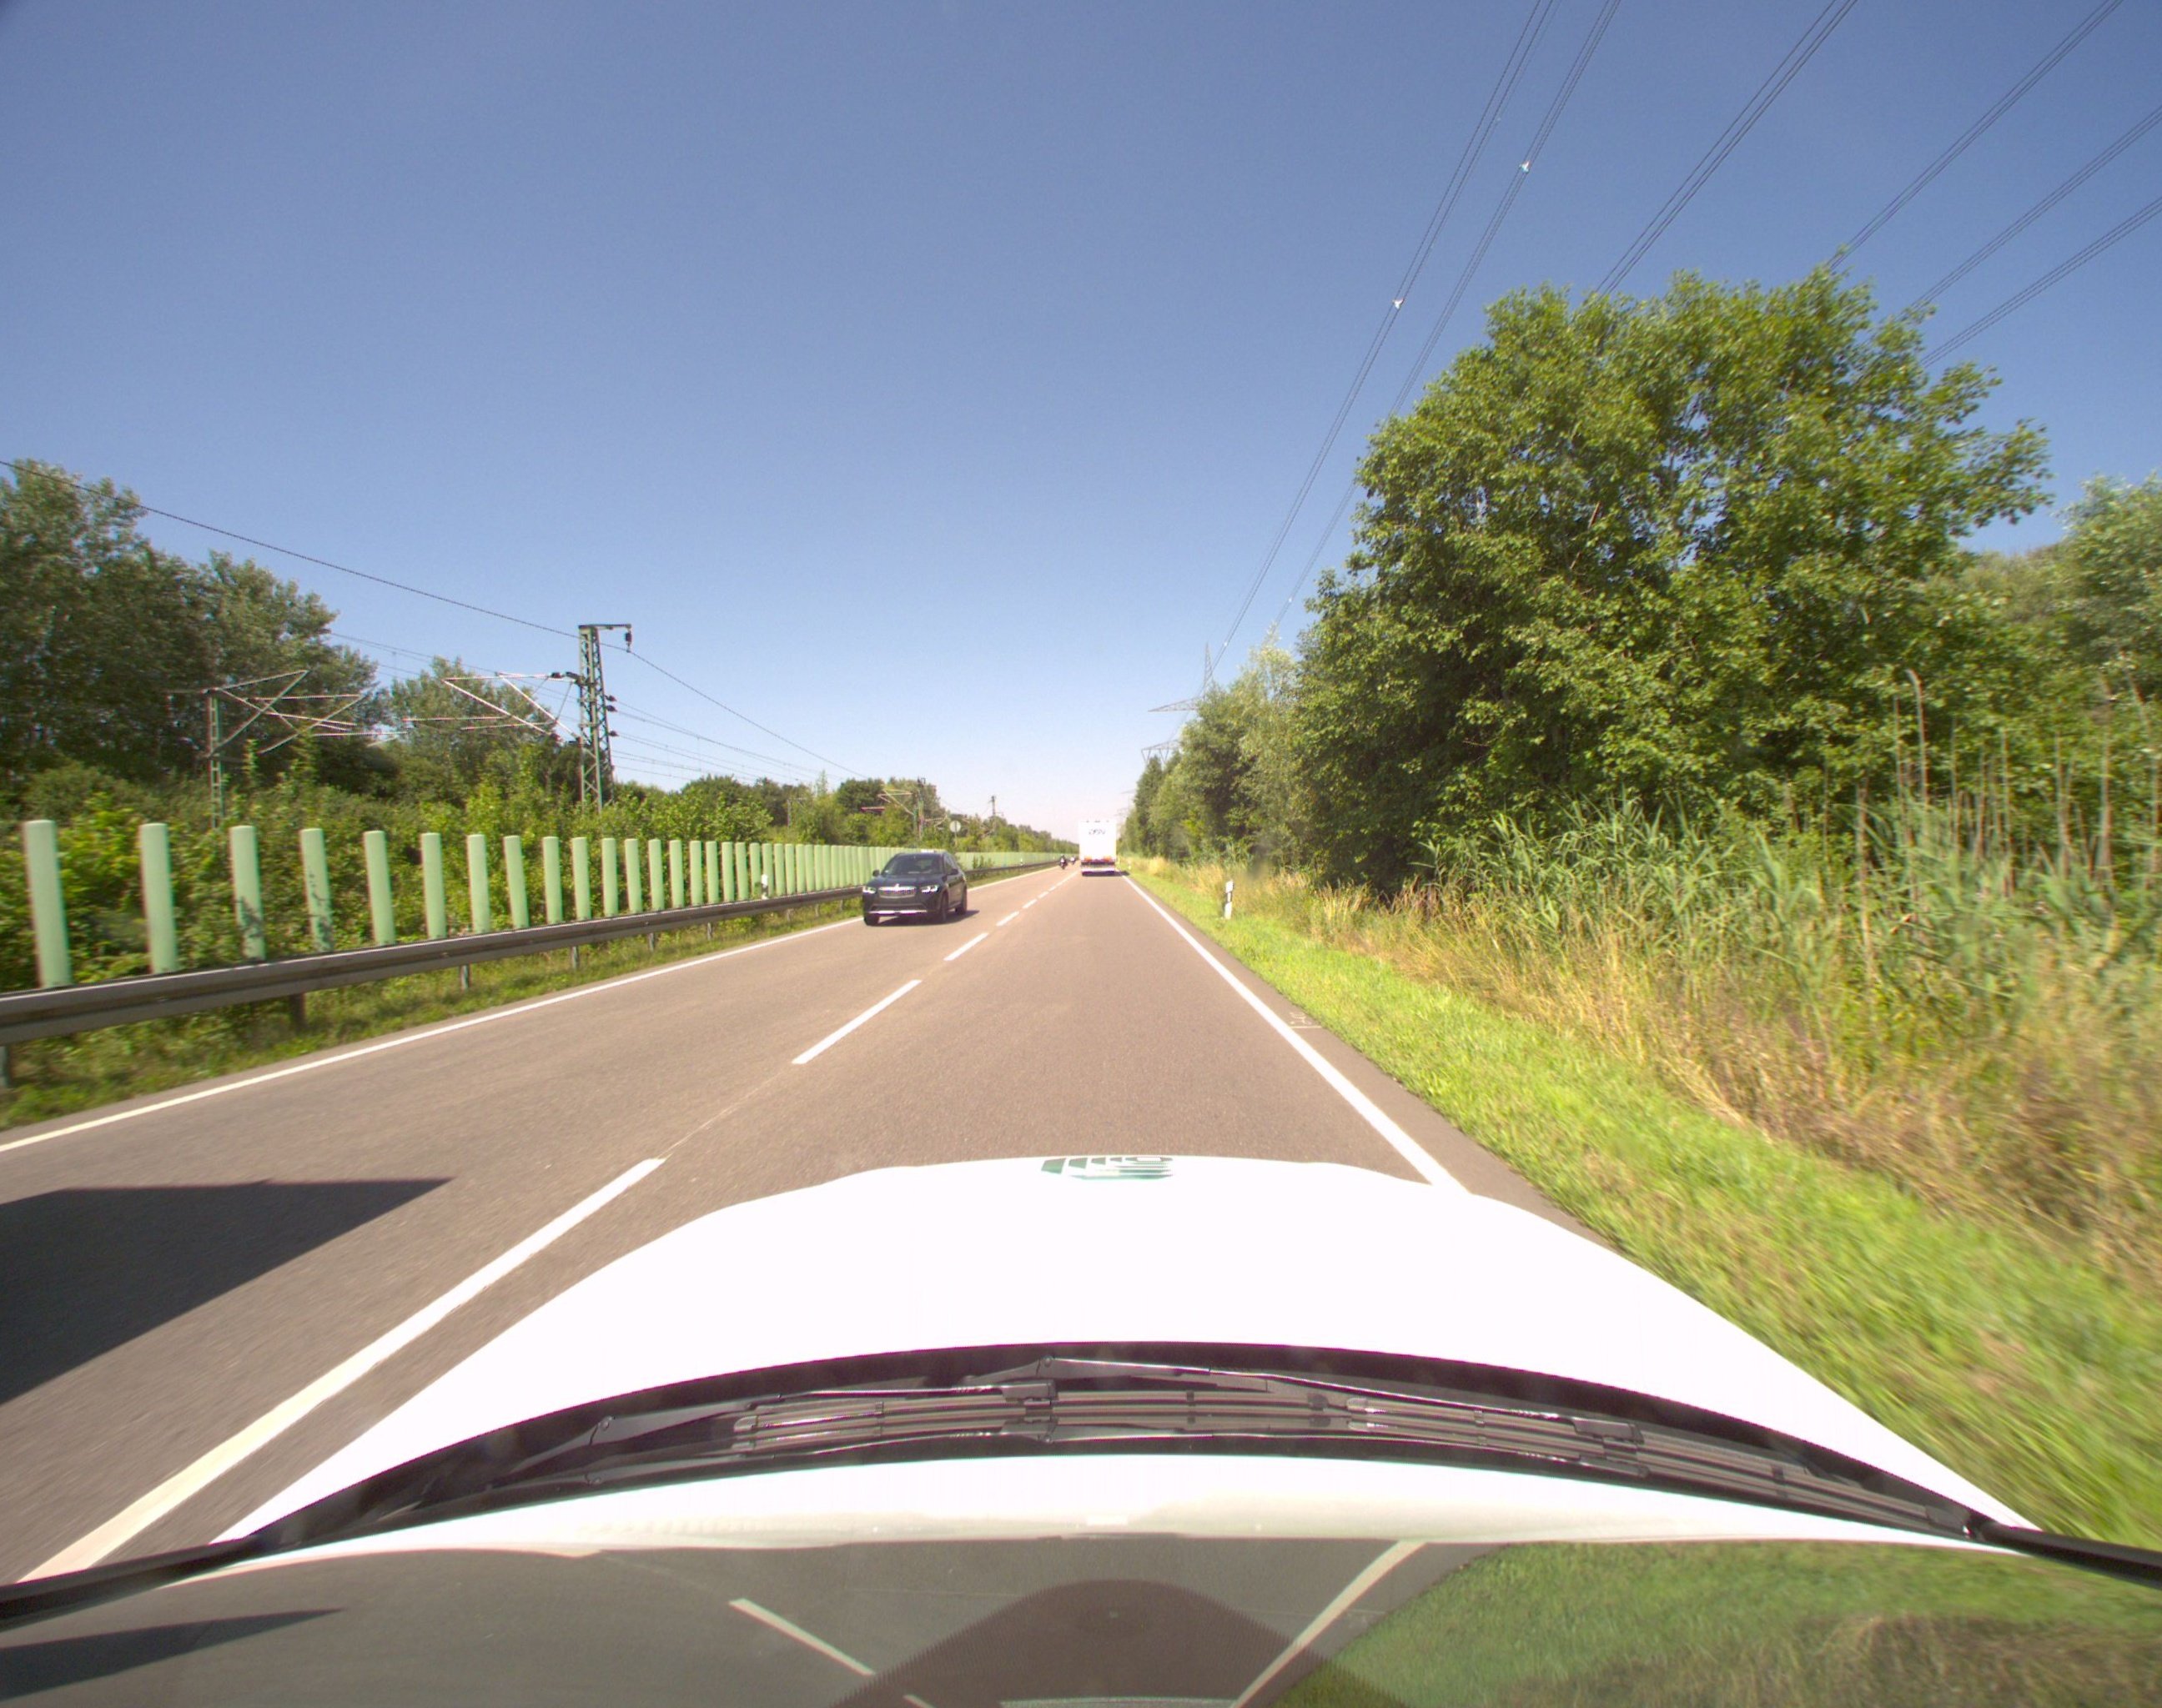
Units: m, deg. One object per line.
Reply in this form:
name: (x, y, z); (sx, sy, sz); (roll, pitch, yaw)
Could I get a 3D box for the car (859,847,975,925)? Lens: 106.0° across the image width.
car: (-3.971, 0.709, 20.511); (1.808, 1.694, 4.707); (-1, 0, 1)

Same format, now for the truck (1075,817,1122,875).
truck: (1.319, -0.562, 63.190); (3.181, 4.042, 12.008); (-1, 0, 1)

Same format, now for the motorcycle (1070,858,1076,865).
motorcycle: (-1.313, 1.237, 133.114); (0.751, 1.014, 2.722); (0, 0, 3)

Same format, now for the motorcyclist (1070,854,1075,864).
motorcyclist: (-1.324, 0.774, 132.980); (0.755, 1.583, 1.003); (0, -1, 3)

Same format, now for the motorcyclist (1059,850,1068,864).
motorcyclist: (-1.941, 0.367, 91.272); (0.955, 1.609, 1.003); (0, -1, 2)

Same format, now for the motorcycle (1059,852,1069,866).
motorcycle: (-1.923, 0.589, 91.647); (0.964, 1.496, 2.631); (0, 0, 3)

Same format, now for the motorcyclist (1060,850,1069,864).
motorcyclist: (-1.890, 0.377, 92.281); (0.955, 1.609, 1.003); (0, -1, 2)
